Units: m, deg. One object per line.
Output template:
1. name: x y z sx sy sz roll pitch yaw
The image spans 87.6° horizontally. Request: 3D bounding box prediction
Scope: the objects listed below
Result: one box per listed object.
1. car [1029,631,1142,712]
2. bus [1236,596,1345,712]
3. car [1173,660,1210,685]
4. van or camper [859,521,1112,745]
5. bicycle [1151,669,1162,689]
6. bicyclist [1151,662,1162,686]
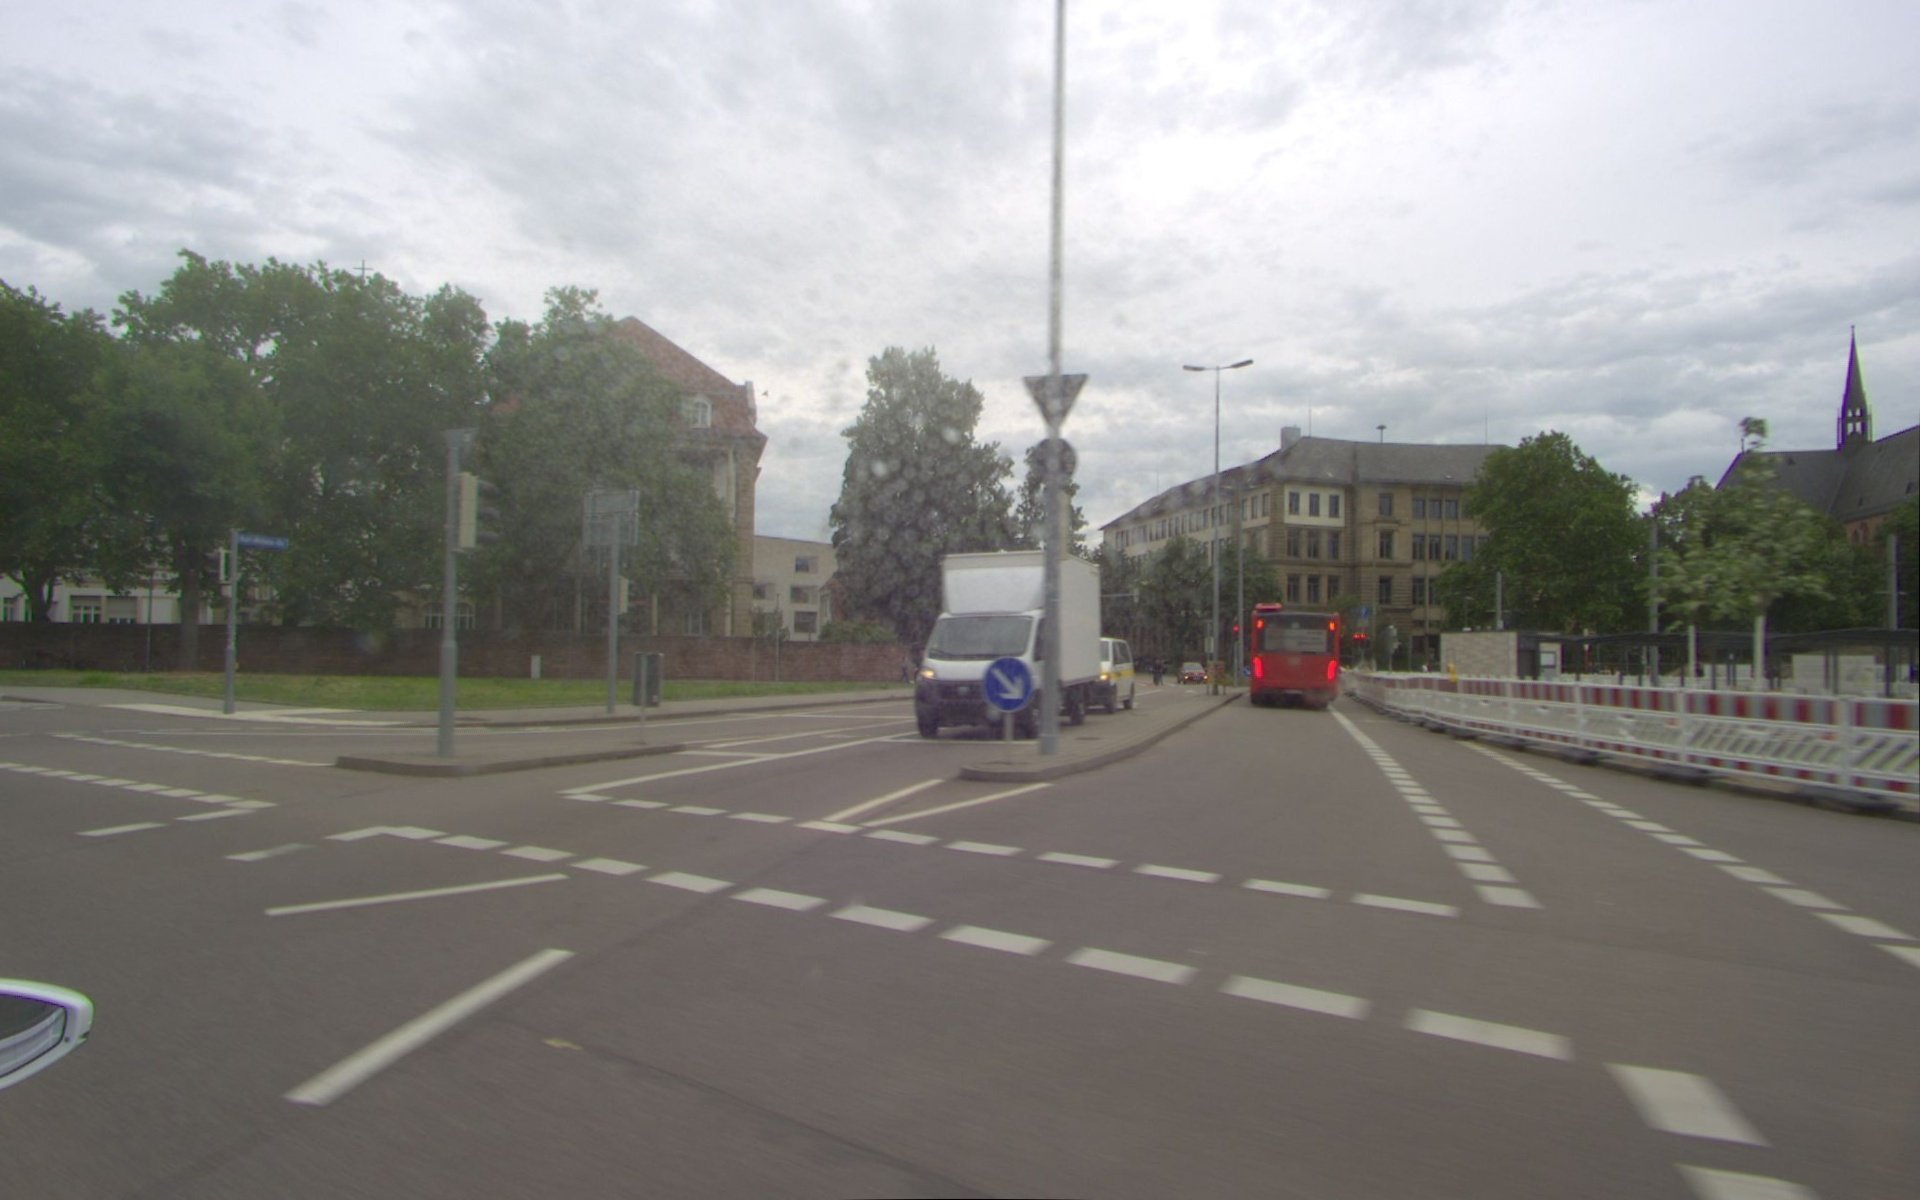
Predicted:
1. car: 3.447 1.864 26.617 1.965 1.887 4.999 -3 -4 19
2. bus: 11.496 1.912 35.345 3.013 3.338 12.371 0 -3 17
3. car: 16.156 5.030 70.004 1.872 1.571 3.973 1 -2 4
4. van or camper: 0.848 0.689 18.971 2.826 3.373 7.145 -1 -3 18
5. bicycle: 12.858 5.185 65.613 0.618 1.244 1.551 1 -2 7
6. bicyclist: 12.867 4.835 65.616 0.607 1.557 0.562 1 -2 7
